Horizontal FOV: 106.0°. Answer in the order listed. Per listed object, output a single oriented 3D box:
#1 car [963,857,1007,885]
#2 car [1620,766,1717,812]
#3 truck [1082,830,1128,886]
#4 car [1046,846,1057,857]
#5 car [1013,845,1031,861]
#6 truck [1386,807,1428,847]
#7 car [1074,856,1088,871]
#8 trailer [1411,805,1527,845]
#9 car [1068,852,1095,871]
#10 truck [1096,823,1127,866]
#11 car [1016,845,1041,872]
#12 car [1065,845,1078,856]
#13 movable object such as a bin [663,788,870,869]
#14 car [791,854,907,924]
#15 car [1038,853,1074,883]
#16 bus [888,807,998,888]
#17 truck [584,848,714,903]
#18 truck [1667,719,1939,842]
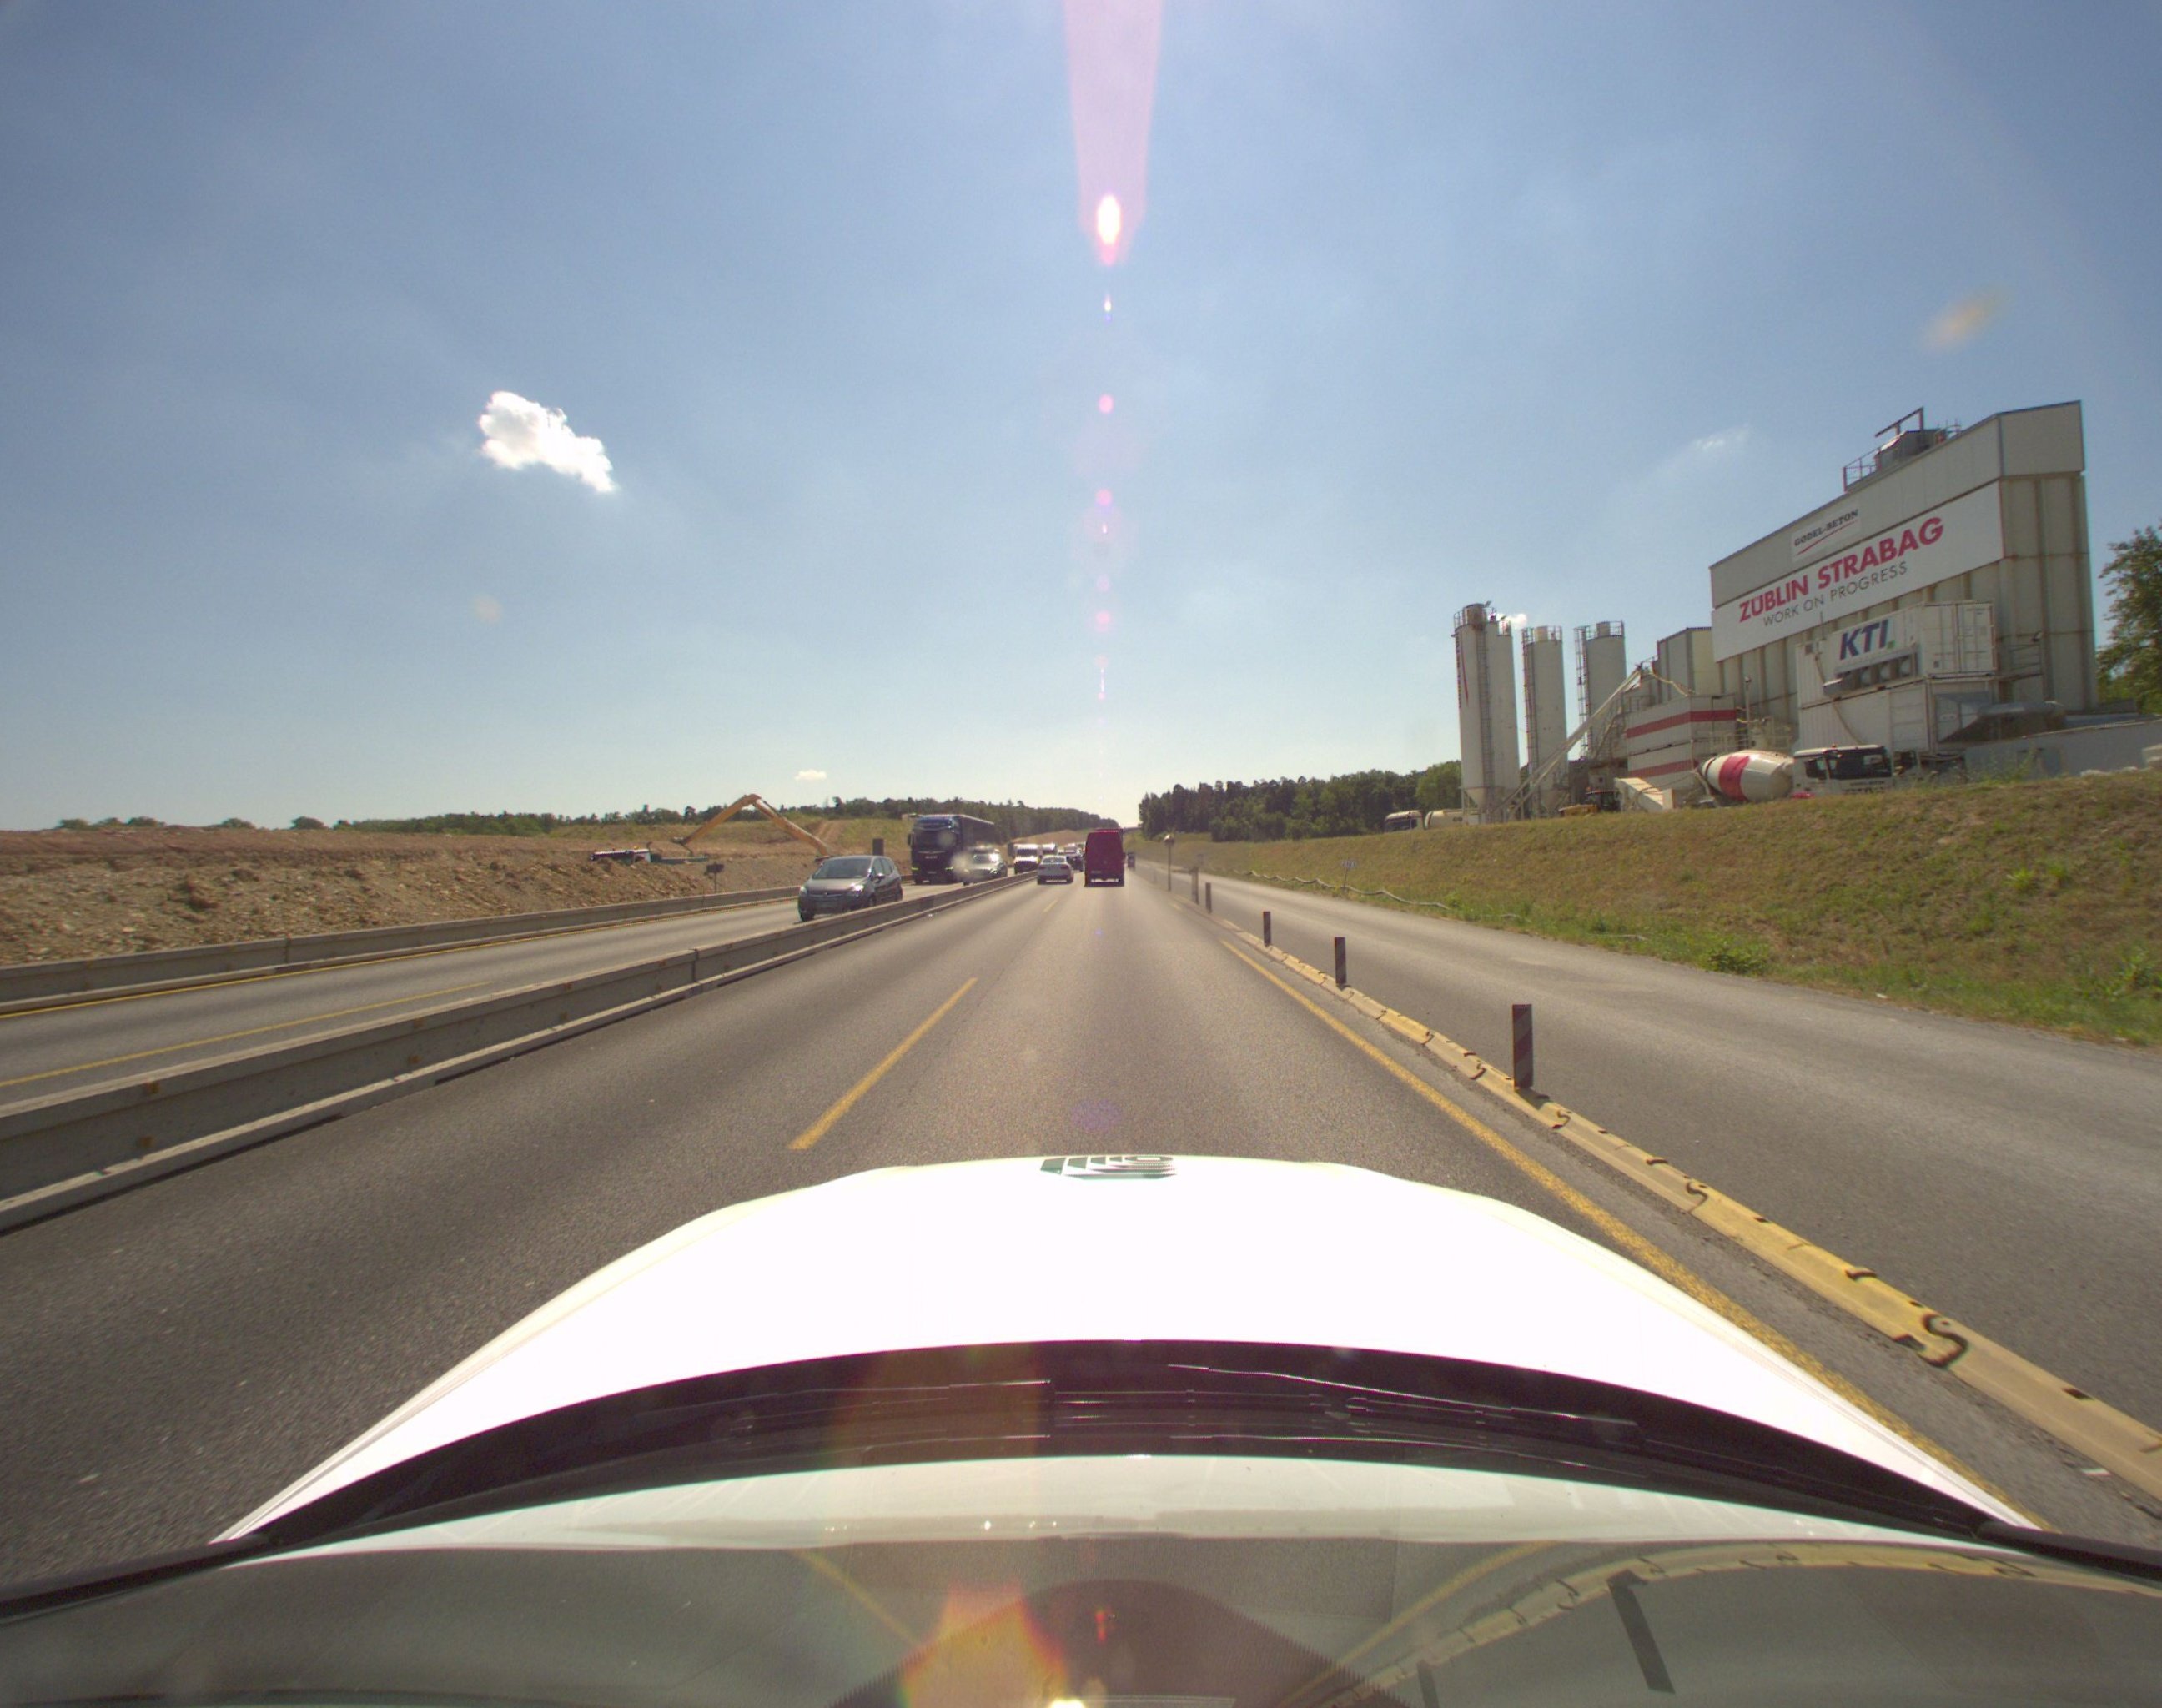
[{"bbox_3d":[-4.990,0.861,42.776,1.716,1.346,3.627,-2,0,2],"label":"car"},{"bbox_3d":[30.935,-3.376,43.049,1.986,2.013,4.429,-2,0,2],"label":"car"},{"bbox_3d":[1.343,0.171,42.213,2.102,2.633,6.490,-2,0,3],"label":"truck"},{"bbox_3d":[-5.137,-0.506,140.591,1.718,1.829,3.557,-2,0,-1],"label":"car"},{"bbox_3d":[-7.284,-0.124,101.031,1.757,2.013,3.828,-2,0,1],"label":"car"},{"bbox_3d":[27.841,-2.240,69.418,2.869,3.113,6.047,-2,0,26],"label":"truck"},{"bbox_3d":[0.011,1.341,116.067,1.757,2.013,3.828,-2,0,1],"label":"car"},{"bbox_3d":[33.859,-2.527,71.187,9.006,3.229,3.316,-2,0,-13],"label":"trailer"},{"bbox_3d":[0.064,0.627,72.206,1.785,1.534,3.940,-2,0,8],"label":"car"},{"bbox_3d":[3.198,-0.946,85.114,3.003,4.153,8.277,-2,0,2],"label":"truck"},{"bbox_3d":[-4.339,0.377,67.720,1.853,2.154,3.624,-2,0,-1],"label":"car"},{"bbox_3d":[-1.638,-0.661,144.400,1.986,1.903,4.002,-2,0,2],"label":"car"},{"bbox_3d":[-30.599,-2.486,79.896,18.653,7.231,3.615,-2,0,-1],"label":"movable object such as a bin"},{"bbox_3d":[-5.808,0.807,20.936,1.646,1.558,4.097,-2,0,2],"label":"car"},{"bbox_3d":[-1.316,0.723,44.927,1.789,1.534,5.072,-1,0,0],"label":"car"},{"bbox_3d":[-8.523,-0.385,53.796,3.929,4.415,17.203,-2,0,1],"label":"bus"},{"bbox_3d":[-23.244,1.047,44.432,2.307,2.617,8.414,-2,0,2],"label":"truck"},{"bbox_3d":[30.031,-2.748,34.836,3.419,4.296,9.942,-2,0,5],"label":"truck"}]
